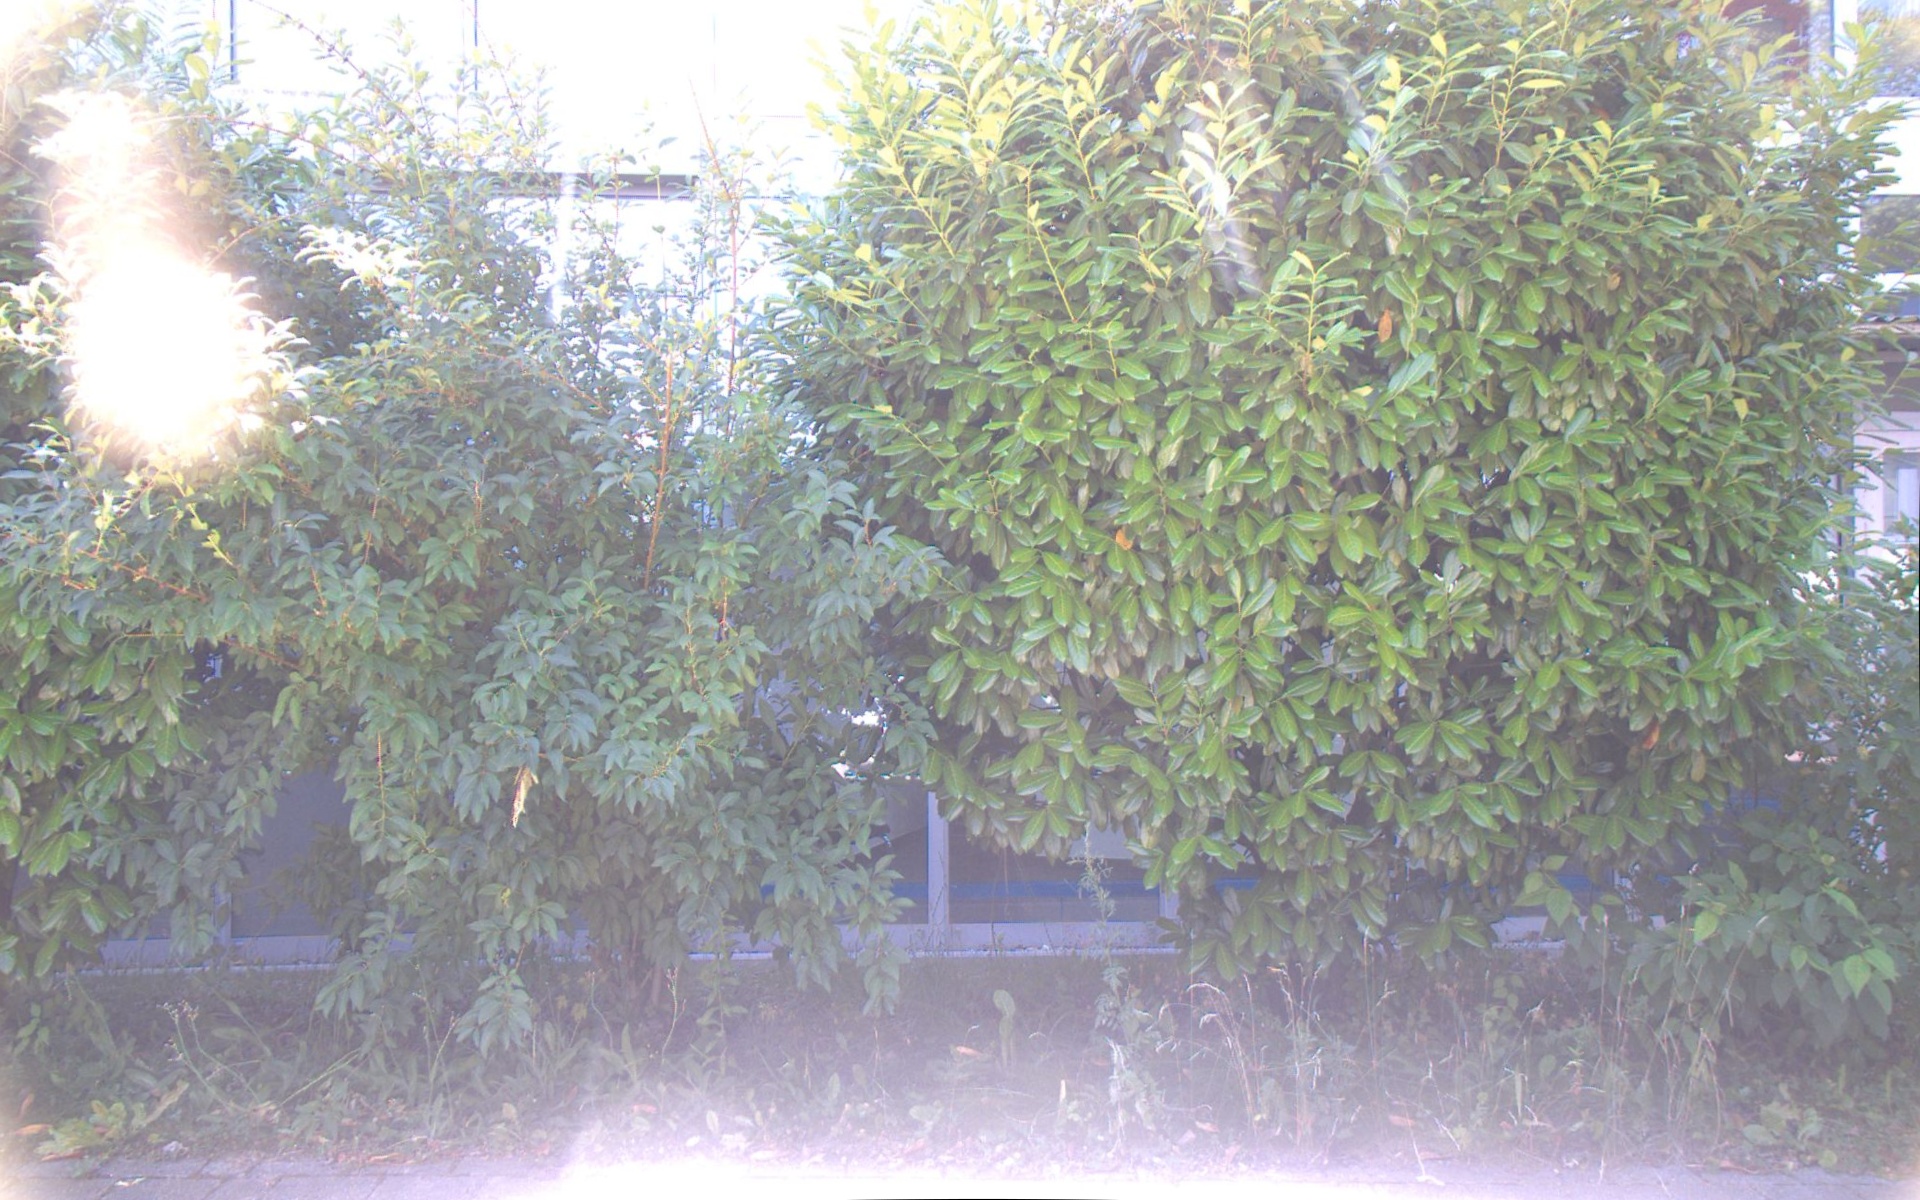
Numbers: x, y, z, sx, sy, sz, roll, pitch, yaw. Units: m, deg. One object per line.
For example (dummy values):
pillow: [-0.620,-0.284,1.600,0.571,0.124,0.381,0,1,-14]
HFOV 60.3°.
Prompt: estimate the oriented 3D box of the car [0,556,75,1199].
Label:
car: [-2.046,0.684,0.276,1.685,1.505,4.345,1,0,-4]
